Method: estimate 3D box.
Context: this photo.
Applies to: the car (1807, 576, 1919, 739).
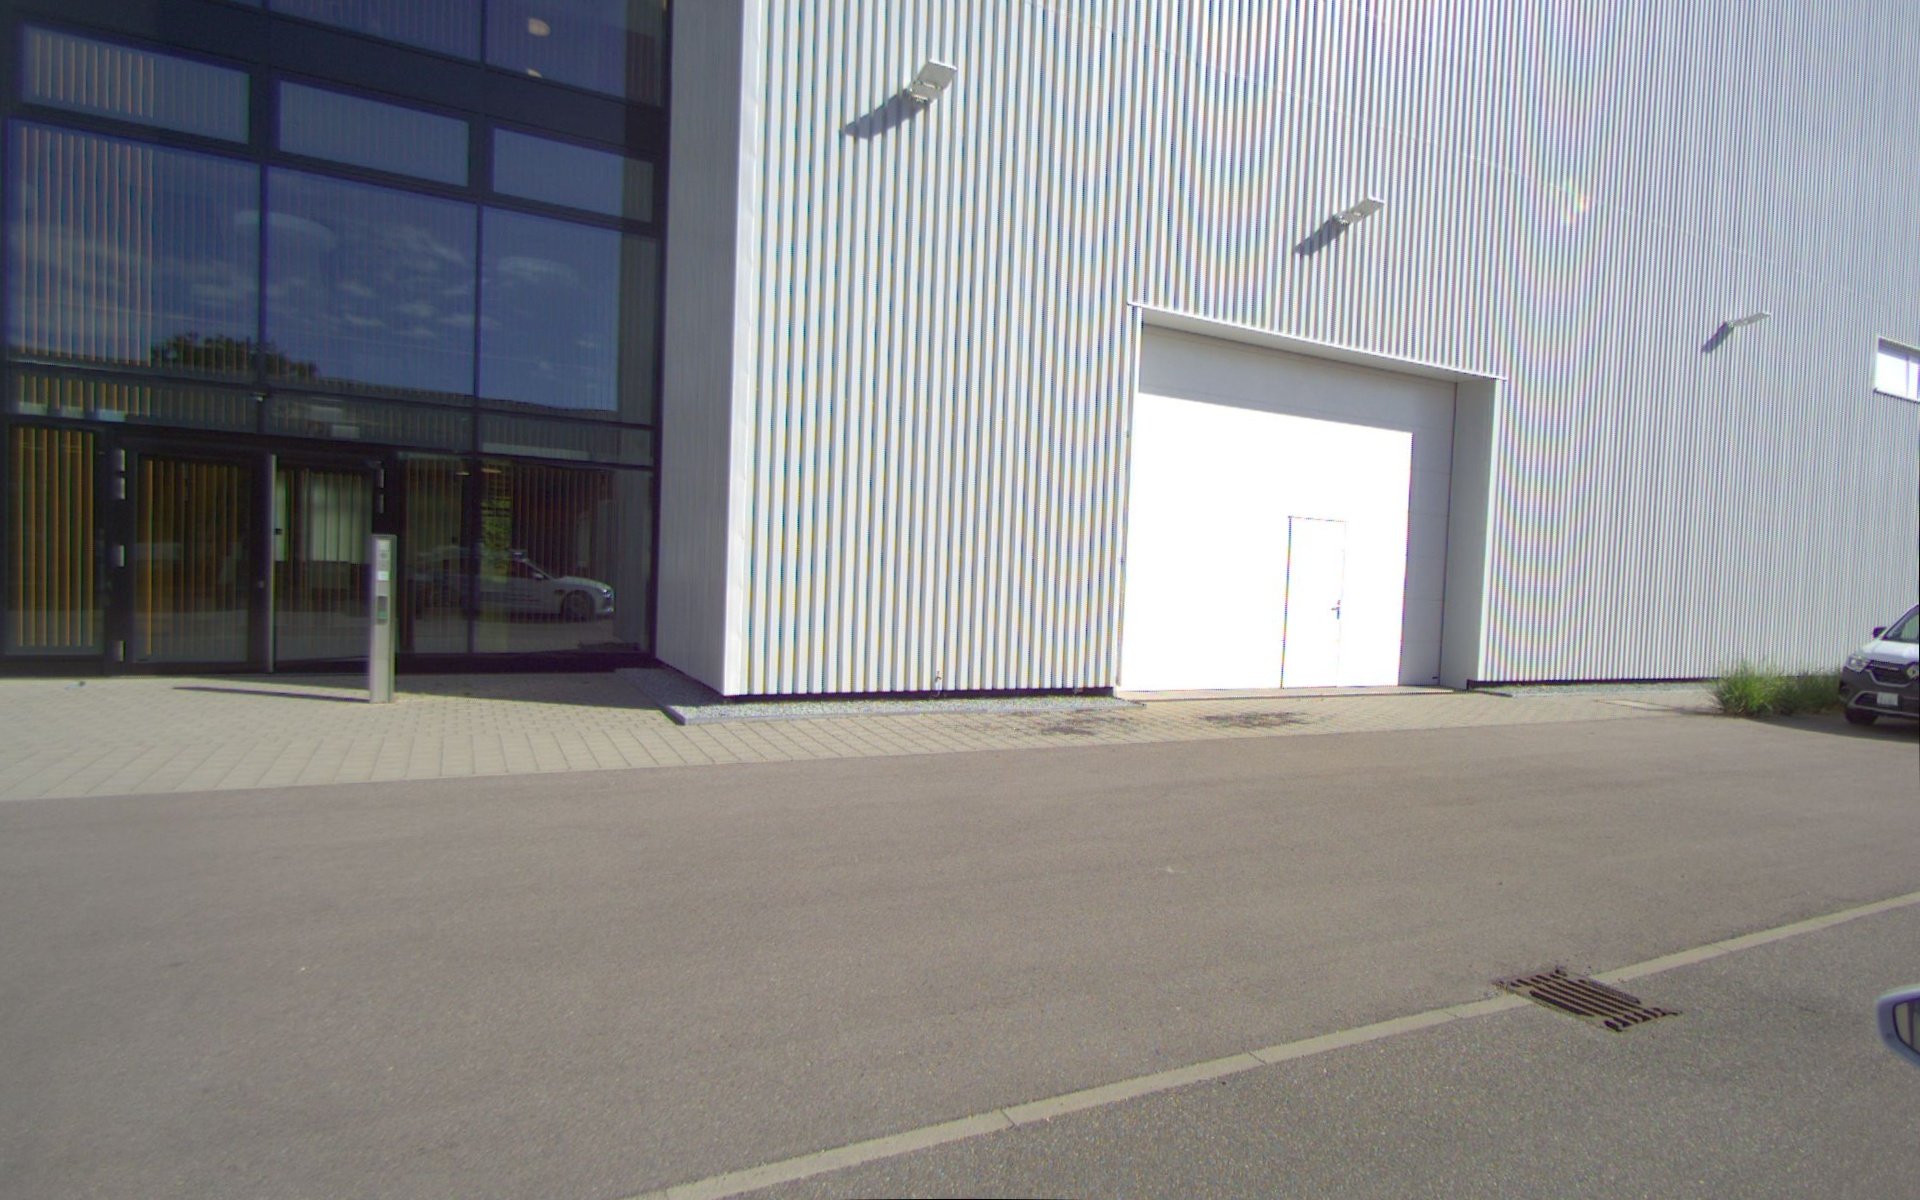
[{"bbox_3d":[13.186,0.747,12.966,4.304,1.870,1.882,2,4,-28],"label":"car"}]
